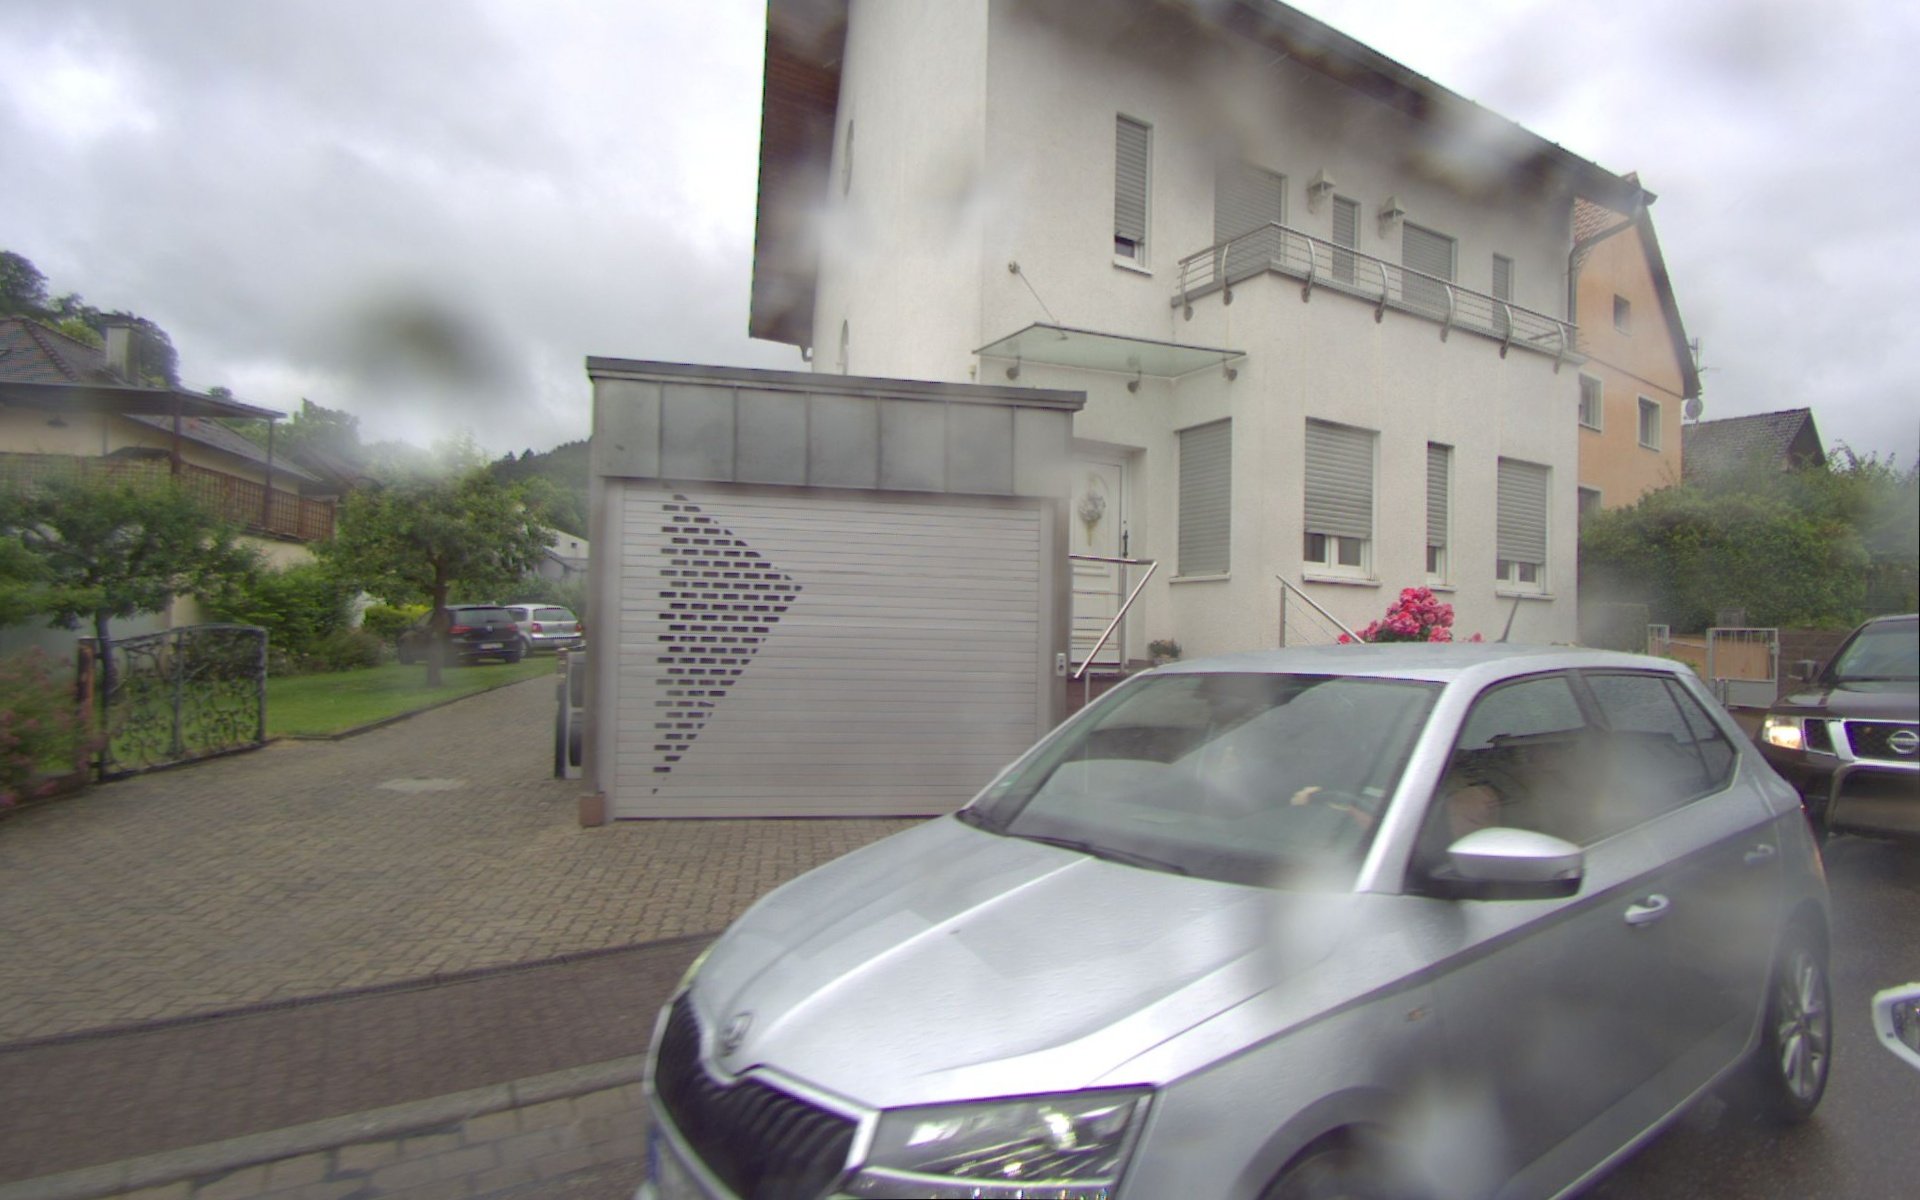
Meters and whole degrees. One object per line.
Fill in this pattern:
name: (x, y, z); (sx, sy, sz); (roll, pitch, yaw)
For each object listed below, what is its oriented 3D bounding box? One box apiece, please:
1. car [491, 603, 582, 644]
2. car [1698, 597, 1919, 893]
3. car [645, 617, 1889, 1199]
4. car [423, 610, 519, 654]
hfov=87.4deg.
car: (-12.015, 0.649, 28.415); (1.416, 1.053, 3.259); (2, 0, -42)
car: (7.543, 0.903, 7.345); (5.144, 1.695, 1.823); (2, -4, -34)
car: (1.140, 0.860, 3.008); (3.677, 1.500, 1.570); (0, -4, -35)
car: (-11.729, 0.723, 24.024); (1.394, 0.952, 3.263); (-1, 0, -38)
